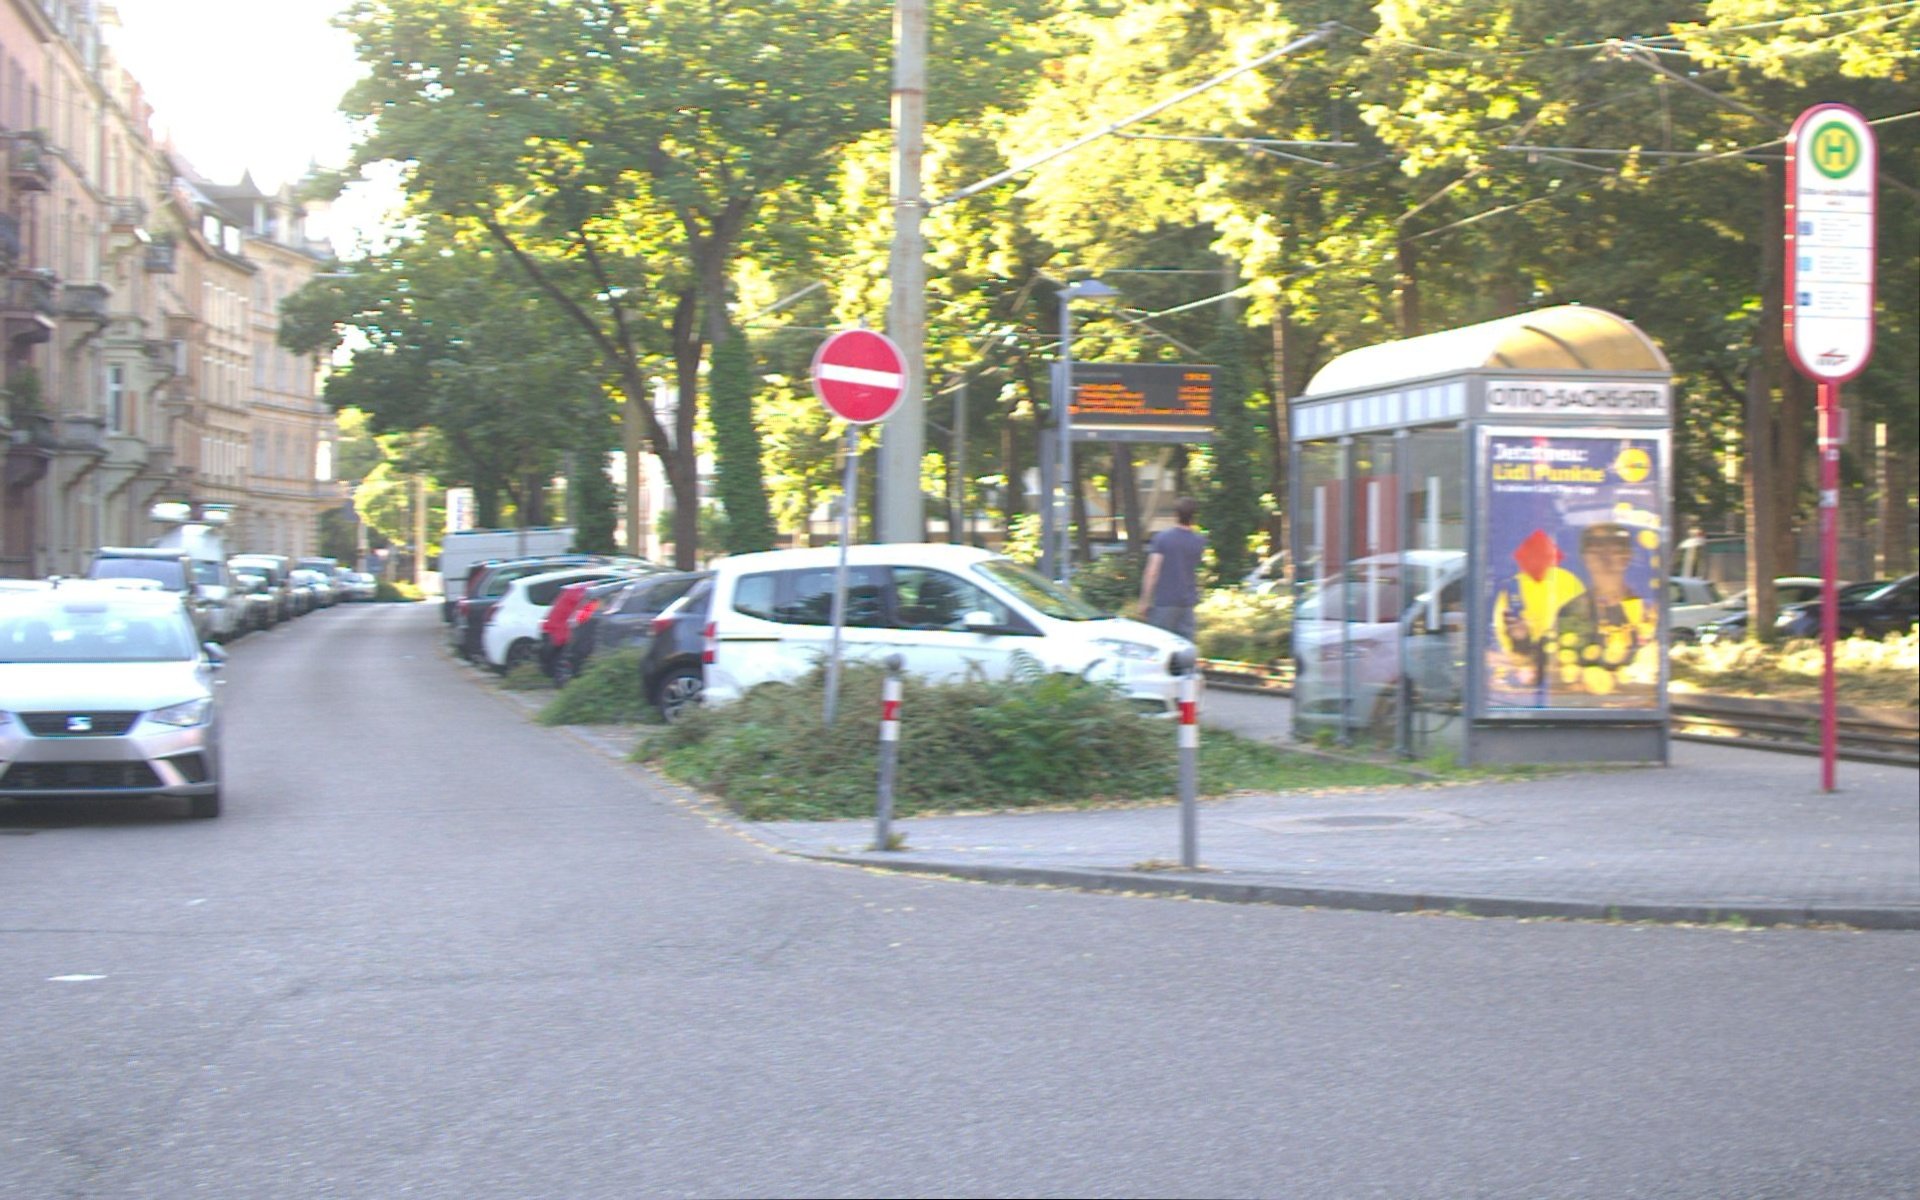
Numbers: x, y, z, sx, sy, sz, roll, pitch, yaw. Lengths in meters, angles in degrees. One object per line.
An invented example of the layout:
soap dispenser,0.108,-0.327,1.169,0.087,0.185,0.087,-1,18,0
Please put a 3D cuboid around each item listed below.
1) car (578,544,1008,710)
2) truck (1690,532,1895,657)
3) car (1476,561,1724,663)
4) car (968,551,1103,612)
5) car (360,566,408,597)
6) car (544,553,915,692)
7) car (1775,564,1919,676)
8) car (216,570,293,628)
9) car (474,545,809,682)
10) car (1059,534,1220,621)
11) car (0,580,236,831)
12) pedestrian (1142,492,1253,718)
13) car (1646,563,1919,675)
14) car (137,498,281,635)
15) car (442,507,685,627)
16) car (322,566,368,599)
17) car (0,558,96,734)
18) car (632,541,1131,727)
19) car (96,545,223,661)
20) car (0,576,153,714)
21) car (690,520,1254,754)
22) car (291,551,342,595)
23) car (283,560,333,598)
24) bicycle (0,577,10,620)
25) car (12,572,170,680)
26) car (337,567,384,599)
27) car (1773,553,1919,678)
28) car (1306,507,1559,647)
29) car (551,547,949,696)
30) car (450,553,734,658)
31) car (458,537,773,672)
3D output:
car,-1.773,0.281,36.816,4.230,1.502,1.606,-3,1,15
truck,16.205,-0.122,67.197,2.366,2.344,4.385,0,1,-9
car,10.312,0.201,55.506,3.818,1.416,1.737,3,-1,10
car,2.555,-0.620,115.718,4.083,1.783,1.817,3,-1,21
car,-27.859,-0.920,166.384,1.710,1.441,4.000,-1,1,-1
car,-2.854,0.273,42.716,4.230,1.453,1.606,-3,1,15
car,13.036,0.336,46.364,3.818,1.386,1.737,3,-1,10
car,-18.652,-0.051,91.066,1.710,1.441,4.001,-1,1,-8
car,-4.450,0.194,48.007,4.233,1.645,1.855,-3,1,27
car,5.089,-0.637,97.515,4.083,2.202,1.817,3,-1,21
car,-5.724,0.621,22.622,1.710,1.441,4.001,-1,1,-14
pedestrian,2.042,0.038,29.476,0.848,1.904,0.837,0,0,11
car,11.923,0.275,49.689,3.818,1.386,1.737,3,-1,10
car,-16.493,-0.762,75.748,2.552,2.877,5.482,-1,1,-7
car,-9.630,-0.805,83.583,5.256,2.563,2.271,-3,1,19
car,-27.894,-0.808,155.954,1.710,1.441,4.001,-1,1,-5
car,-9.769,0.426,34.973,1.710,1.667,4.001,-1,1,-12
car,-0.703,0.305,31.582,4.195,1.432,1.700,-3,1,16
car,-13.936,0.016,59.992,1.710,1.926,4.001,-1,1,-7
car,-10.339,0.478,39.324,1.710,1.441,4.001,-1,1,-7
car,0.099,0.301,28.107,4.232,1.647,1.606,-3,1,22
car,-27.303,-1.143,145.940,1.710,1.814,4.001,-1,1,-5
car,-26.049,-0.856,137.428,1.710,1.441,4.001,-1,1,-7
bicycle,-23.129,-0.043,82.153,0.626,1.000,2.176,0,1,-10
car,-12.513,0.350,49.707,1.710,1.441,4.001,-1,1,-7
car,-28.119,-0.813,161.382,1.710,1.441,4.001,-1,1,-3
car,12.464,0.264,44.050,3.818,1.492,1.737,3,-1,10
car,9.264,-0.454,67.434,4.491,2.468,1.817,3,-1,21
car,-2.415,0.245,39.795,4.230,1.453,1.606,-3,1,15
car,-6.117,0.092,57.214,4.231,1.468,1.856,-3,1,19
car,-5.131,0.073,51.147,4.233,1.743,1.855,-3,1,27
